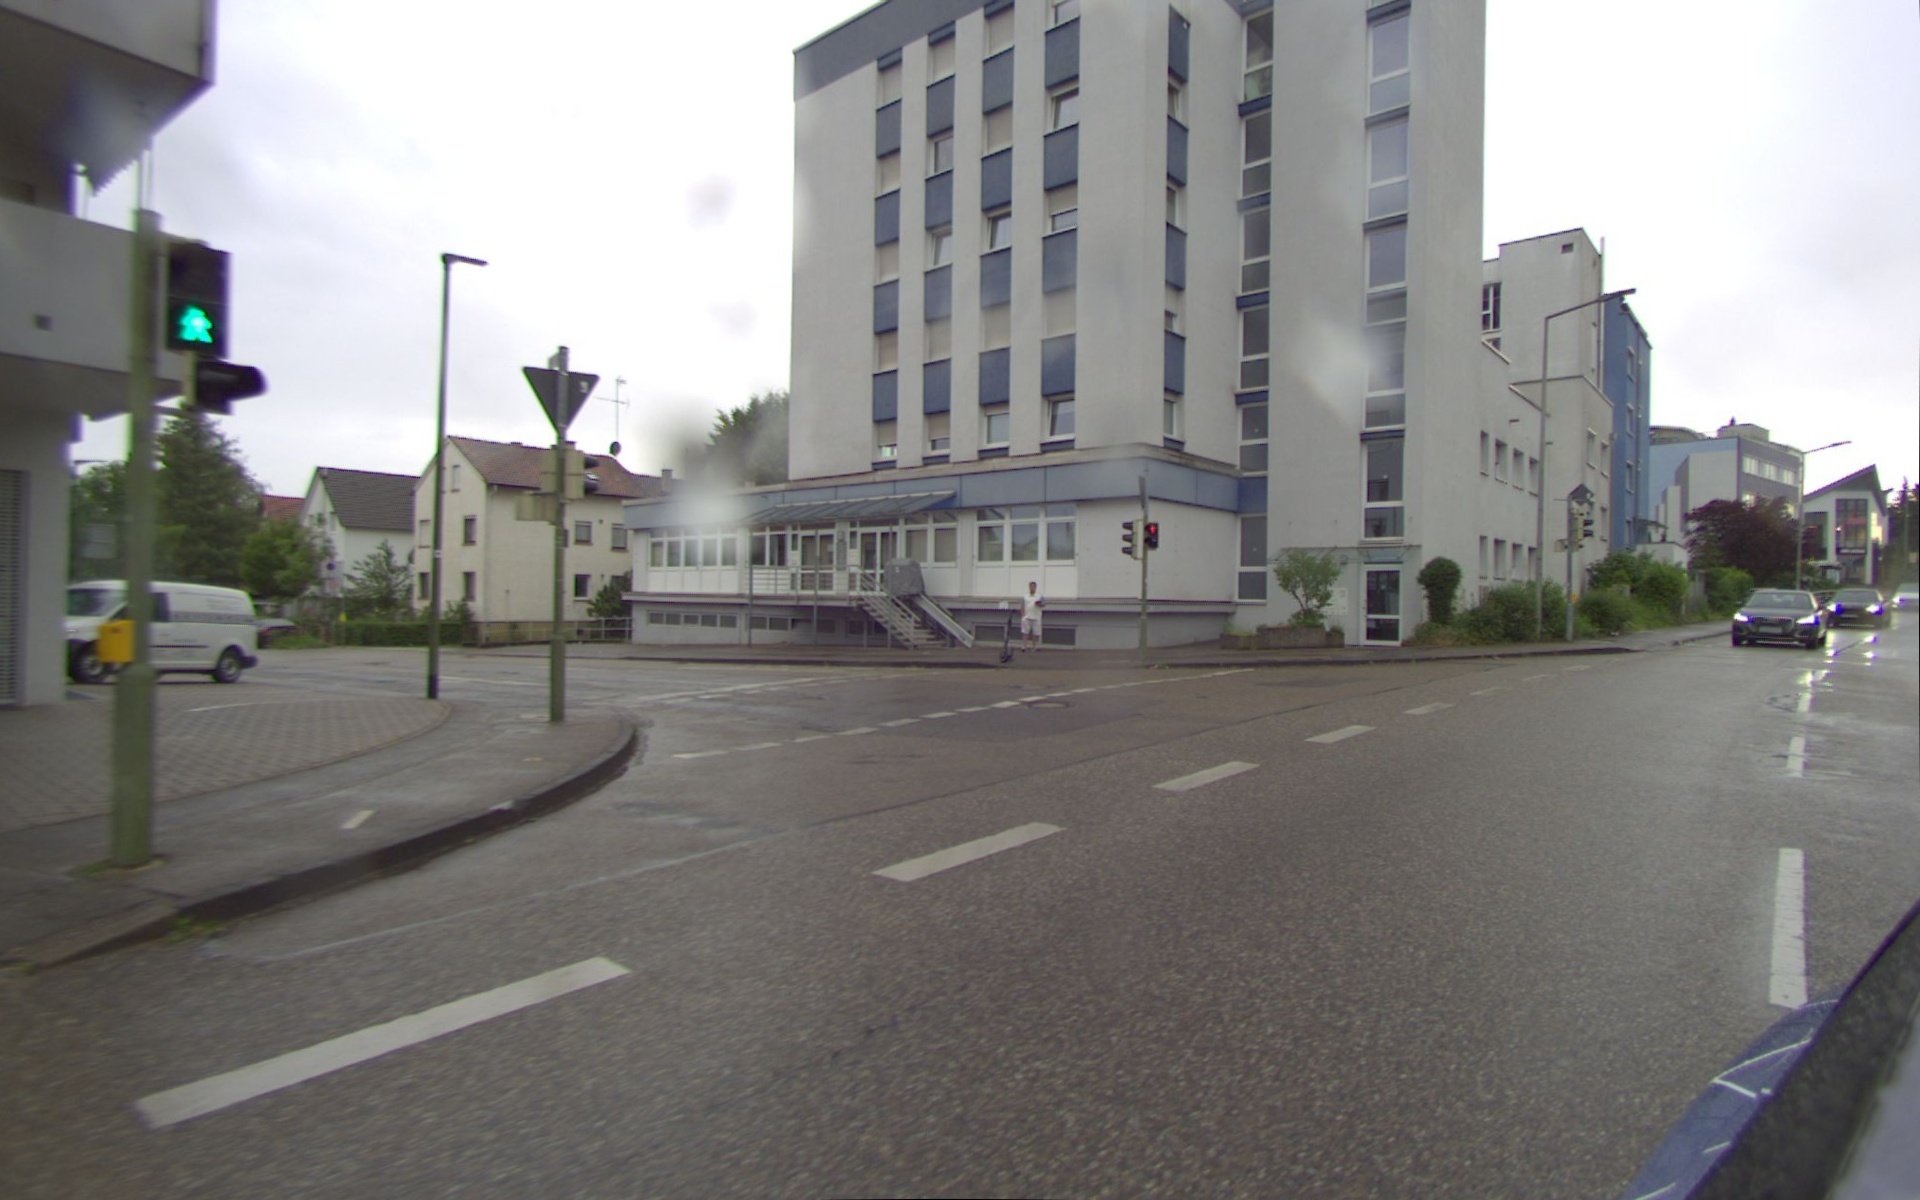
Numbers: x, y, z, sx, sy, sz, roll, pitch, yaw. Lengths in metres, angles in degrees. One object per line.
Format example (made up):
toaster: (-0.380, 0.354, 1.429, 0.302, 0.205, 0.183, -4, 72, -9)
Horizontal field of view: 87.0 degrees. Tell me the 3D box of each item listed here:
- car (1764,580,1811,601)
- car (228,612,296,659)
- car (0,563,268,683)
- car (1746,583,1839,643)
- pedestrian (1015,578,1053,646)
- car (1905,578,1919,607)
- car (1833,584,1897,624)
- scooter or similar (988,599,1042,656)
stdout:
car: (51.764, -0.601, 63.306, 3.814, 1.303, 1.656, -1, 0, -41)
car: (-33.383, 1.697, 48.366, 1.968, 2.040, 3.987, -1, -3, -45)
car: (-14.708, 0.488, 17.839, 1.739, 1.802, 4.726, -1, -3, 0)
car: (22.614, 0.307, 27.427, 1.736, 1.504, 4.085, 1, 1, 42)
pedestrian: (1.868, 0.313, 25.624, 0.642, 1.673, 0.647, -4, -3, 40)
car: (54.103, -0.413, 56.432, 3.954, 1.564, 1.895, 0, 0, -44)
car: (35.546, 0.135, 39.719, 1.749, 1.497, 3.937, 0, 0, 44)
scooter or similar: (1.269, 0.622, 23.091, 0.795, 1.243, 1.050, -4, -2, 30)
